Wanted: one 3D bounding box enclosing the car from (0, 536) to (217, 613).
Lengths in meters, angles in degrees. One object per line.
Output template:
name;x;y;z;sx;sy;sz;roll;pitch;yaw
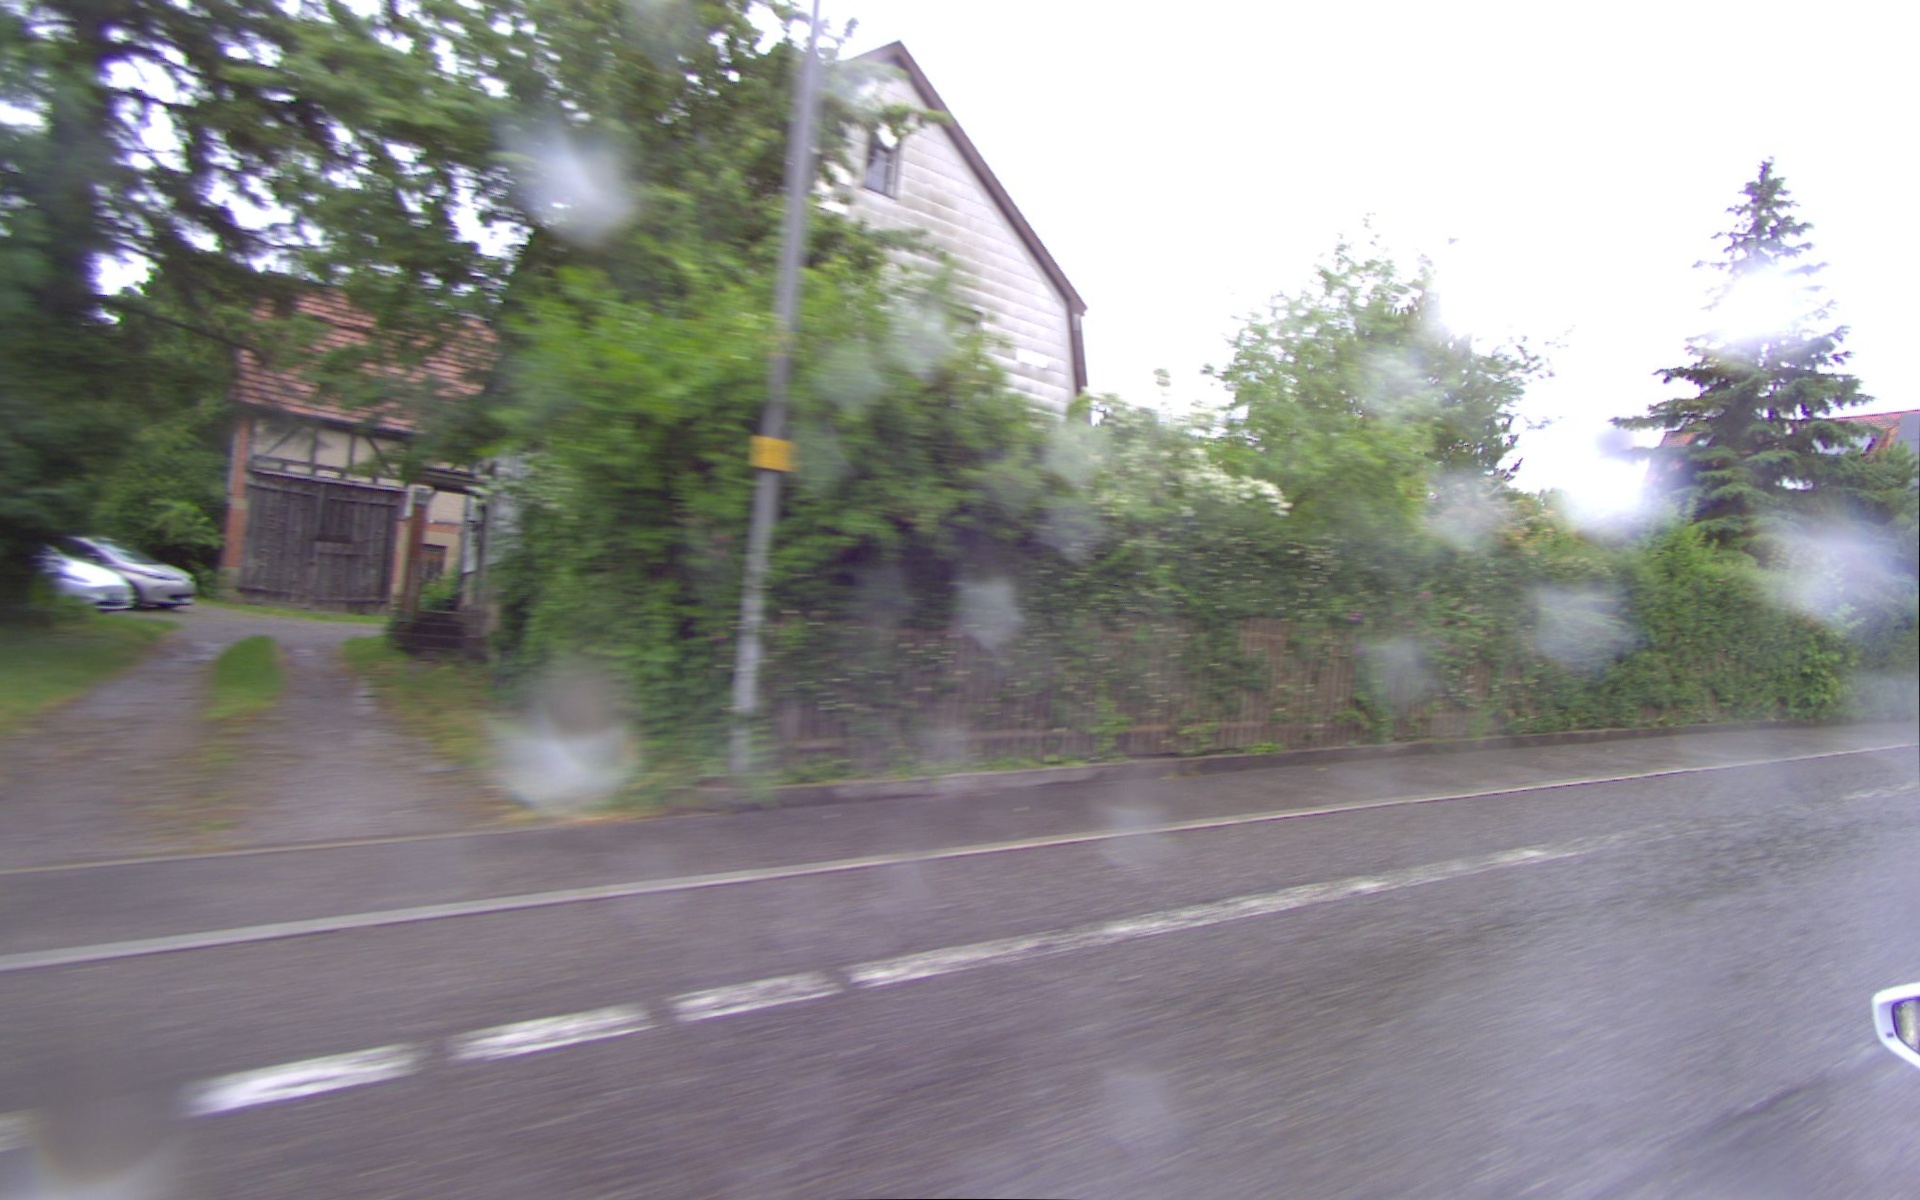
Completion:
car;-19.319;-0.564;22.615;3.780;1.381;1.533;5;0;-13

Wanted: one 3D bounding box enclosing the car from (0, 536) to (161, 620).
car;-18.098;-0.490;19.360;3.780;1.388;1.632;5;0;-13
